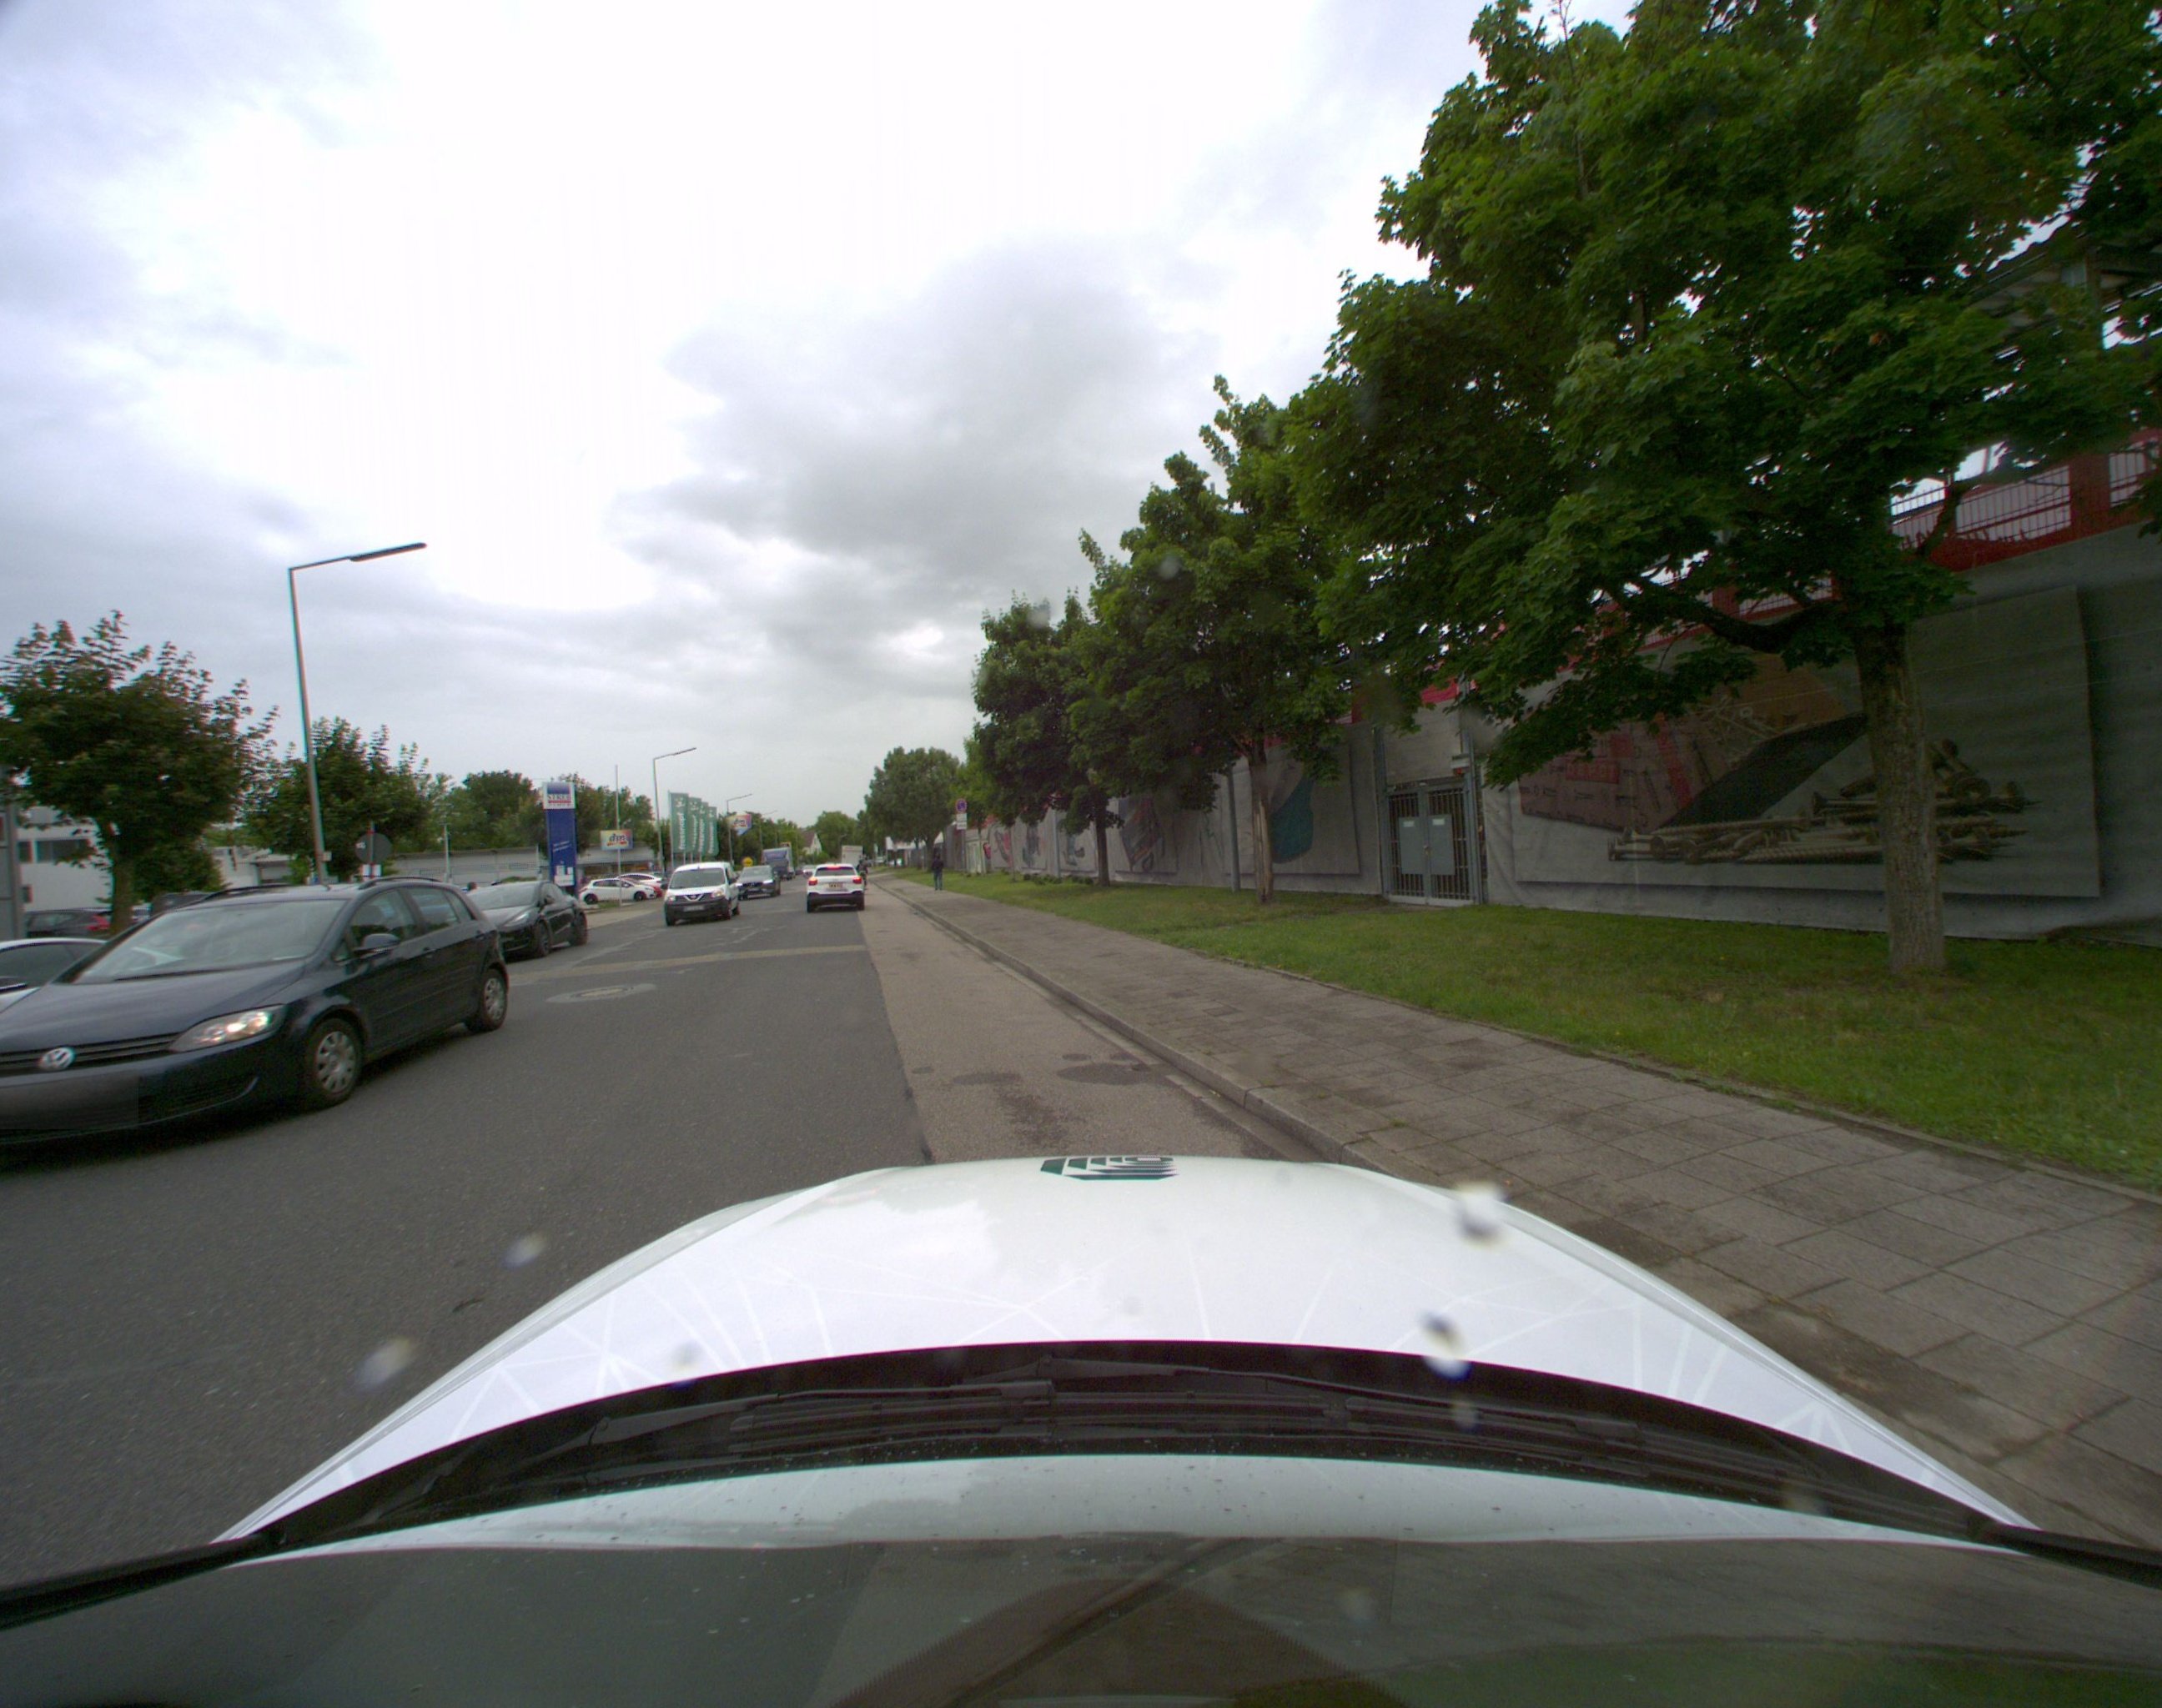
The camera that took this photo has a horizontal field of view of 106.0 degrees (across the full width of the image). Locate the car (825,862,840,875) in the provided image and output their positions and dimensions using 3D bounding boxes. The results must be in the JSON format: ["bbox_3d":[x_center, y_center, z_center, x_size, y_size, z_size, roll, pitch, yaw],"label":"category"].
[{"bbox_3d":[-36.373,2.089,119.040,1.875,1.661,3.975,-4,1,-18],"label":"car"}]

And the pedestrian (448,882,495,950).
[{"bbox_3d":[-16.271,1.630,21.756,0.778,1.715,0.692,-3,0,-21],"label":"pedestrian"}]

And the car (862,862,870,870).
[{"bbox_3d":[-52.643,2.952,199.600,1.890,1.683,4.231,-2,0,-16],"label":"car"}]

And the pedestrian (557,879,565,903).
[{"bbox_3d":[-34.843,2.469,54.569,0.361,1.570,0.499,-4,0,-30],"label":"pedestrian"}]

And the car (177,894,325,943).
[{"bbox_3d":[-35.868,2.761,35.336,3.997,1.669,1.866,-4,0,-17],"label":"car"}]

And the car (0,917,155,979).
[{"bbox_3d":[-32.202,2.973,25.305,4.009,1.485,1.860,-5,1,-26],"label":"car"}]

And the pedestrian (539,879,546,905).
[{"bbox_3d":[-36.216,2.523,54.792,0.264,1.729,0.418,-4,0,-29],"label":"pedestrian"}]

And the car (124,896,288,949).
[{"bbox_3d":[-35.224,2.709,32.920,3.997,1.669,1.866,-4,0,-17],"label":"car"}]

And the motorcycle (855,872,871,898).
[{"bbox_3d":[-10.604,1.486,39.685,0.642,1.178,2.103,-4,0,-14],"label":"motorcycle"}]

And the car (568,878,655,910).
[{"bbox_3d":[-27.871,2.324,48.491,4.224,1.463,1.937,-5,1,-25],"label":"car"}]

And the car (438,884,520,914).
[{"bbox_3d":[-41.234,3.035,55.898,3.997,1.669,1.866,-4,0,-17],"label":"car"}]

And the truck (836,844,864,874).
[{"bbox_3d":[-30.605,0.753,107.526,3.143,3.585,9.989,-2,-1,-18],"label":"truck"}]

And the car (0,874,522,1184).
[{"bbox_3d":[-6.289,1.047,6.510,1.733,1.571,3.924,-5,1,-16],"label":"car"}]

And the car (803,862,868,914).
[{"bbox_3d":[-8.164,1.067,27.228,1.890,1.532,4.231,-2,0,-16],"label":"car"}]

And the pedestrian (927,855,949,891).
[{"bbox_3d":[-6.688,0.899,38.037,0.920,1.635,0.848,-2,-1,-15],"label":"pedestrian"}]

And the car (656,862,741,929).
[{"bbox_3d":[-11.707,1.197,25.194,1.694,1.760,4.110,-5,1,-18],"label":"car"}]

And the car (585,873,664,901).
[{"bbox_3d":[-29.636,2.092,53.008,4.153,1.463,1.884,-4,0,-22],"label":"car"}]

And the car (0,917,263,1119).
[{"bbox_3d":[-9.346,1.474,6.632,1.703,1.367,4.491,-9,2,-17],"label":"car"}]

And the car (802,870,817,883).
[{"bbox_3d":[-36.126,2.941,108.532,1.602,1.528,3.508,-5,0,-16],"label":"car"}]

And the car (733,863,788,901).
[{"bbox_3d":[-16.247,1.367,41.534,1.936,1.683,4.473,-5,1,-14],"label":"car"}]

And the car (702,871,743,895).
[{"bbox_3d":[-23.794,1.924,54.203,1.902,1.367,3.977,-4,0,-16],"label":"car"}]

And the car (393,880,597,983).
[{"bbox_3d":[-12.073,1.482,17.192,1.951,1.526,4.378,-8,1,-16],"label":"car"}]

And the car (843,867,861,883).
[{"bbox_3d":[-27.870,2.573,99.096,1.999,1.806,3.975,-2,-1,-18],"label":"car"}]

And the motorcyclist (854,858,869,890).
[{"bbox_3d":[-10.750,0.971,39.888,0.626,1.554,0.601,-4,0,-15],"label":"motorcyclist"}]

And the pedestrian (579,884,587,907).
[{"bbox_3d":[-34.178,2.837,55.916,0.332,1.570,0.499,-4,0,-30],"label":"pedestrian"}]

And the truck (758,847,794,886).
[{"bbox_3d":[-34.223,1.357,91.566,2.980,3.955,6.369,-5,1,-16],"label":"truck"}]

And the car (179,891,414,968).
[{"bbox_3d":[-20.179,1.891,21.165,3.882,1.620,1.917,-2,0,-17],"label":"car"}]

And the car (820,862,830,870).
[{"bbox_3d":[-54.960,2.622,174.650,1.782,1.655,3.720,-2,-1,-22],"label":"car"}]

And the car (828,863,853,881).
[{"bbox_3d":[-20.971,1.553,71.007,1.943,1.367,3.977,-4,1,-17],"label":"car"}]
